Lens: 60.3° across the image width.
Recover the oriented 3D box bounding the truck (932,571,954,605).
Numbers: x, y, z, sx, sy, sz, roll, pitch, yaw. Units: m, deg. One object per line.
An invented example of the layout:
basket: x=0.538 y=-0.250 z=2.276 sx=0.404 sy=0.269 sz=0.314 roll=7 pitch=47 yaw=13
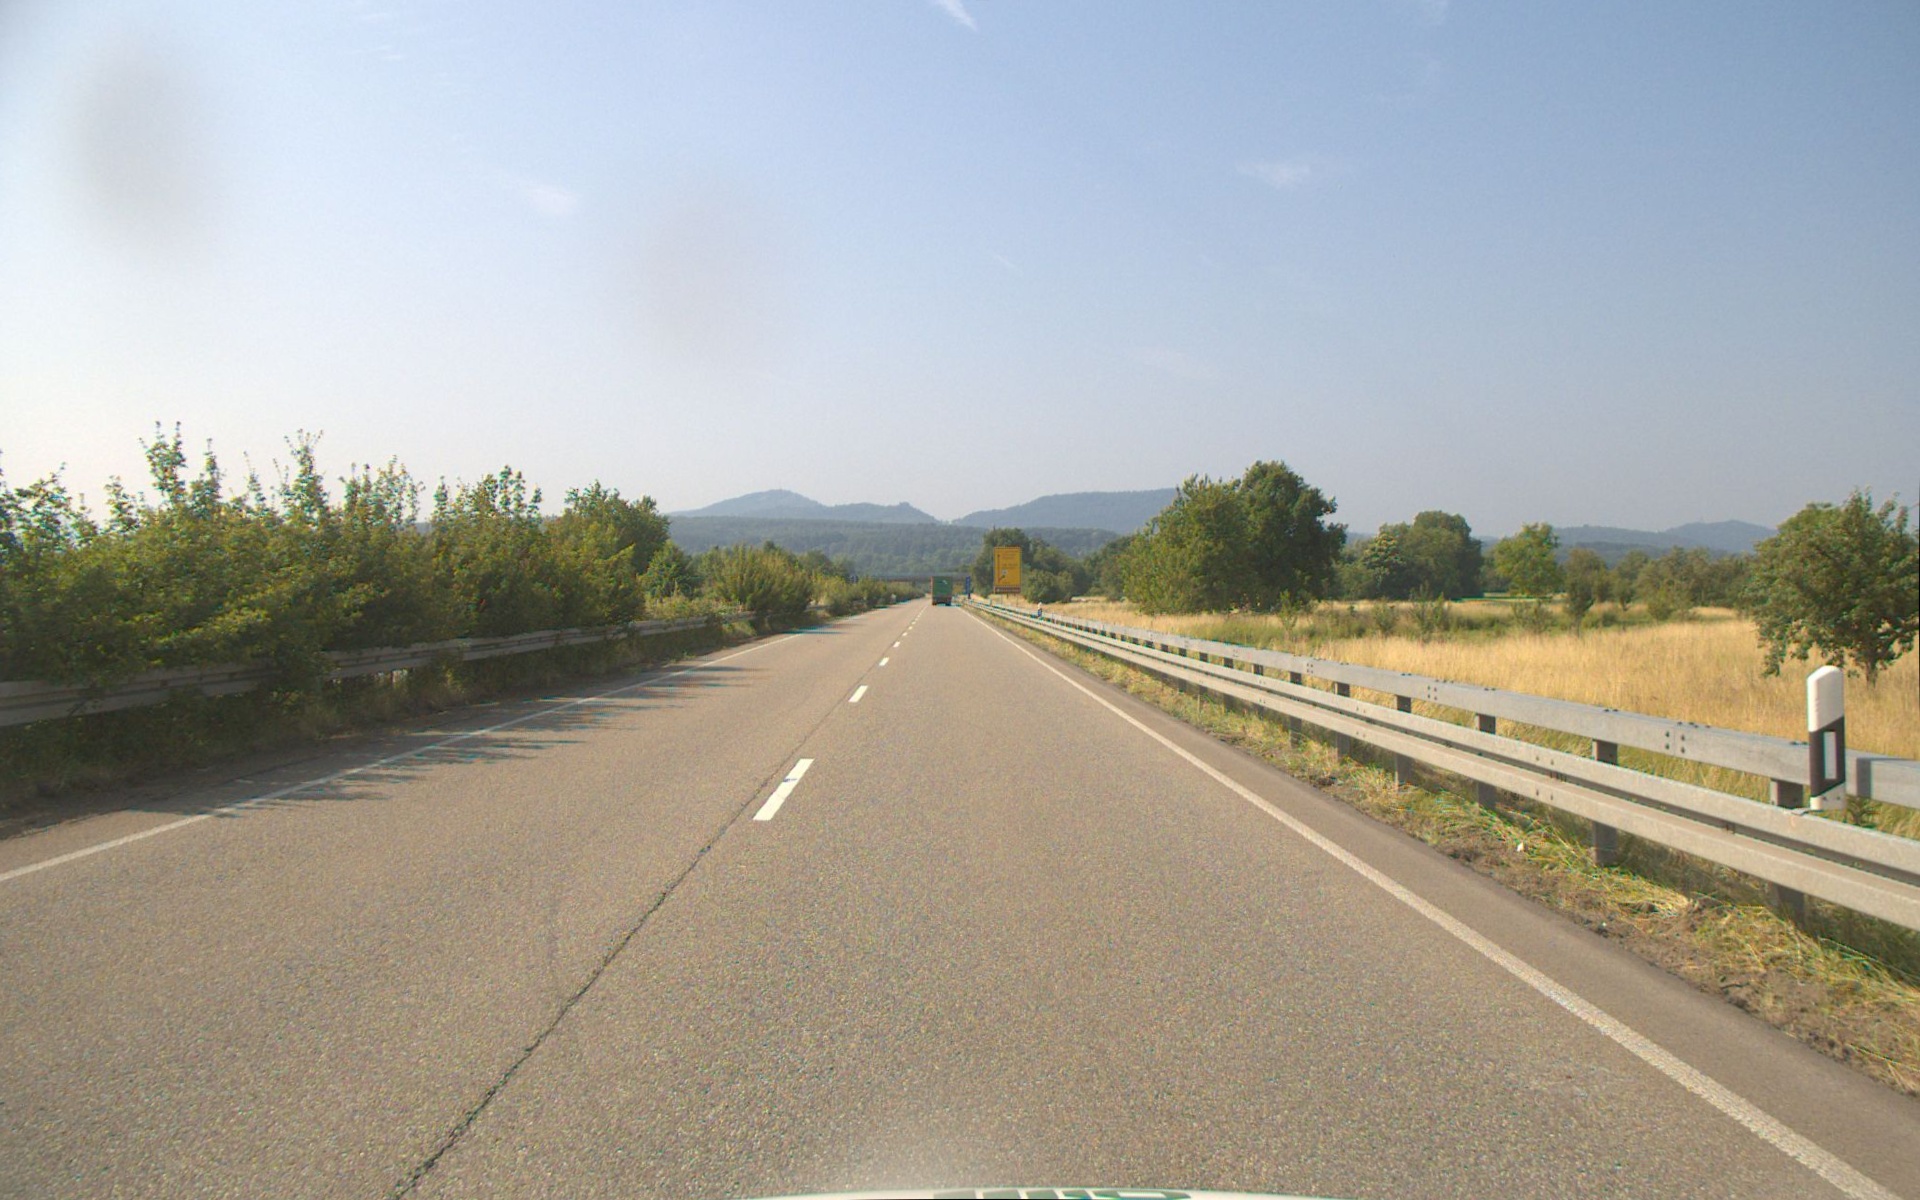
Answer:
truck: x=-2.175 y=-1.599 z=211.584 sx=2.667 sy=4.034 sz=10.415 roll=2 pitch=1 yaw=0
